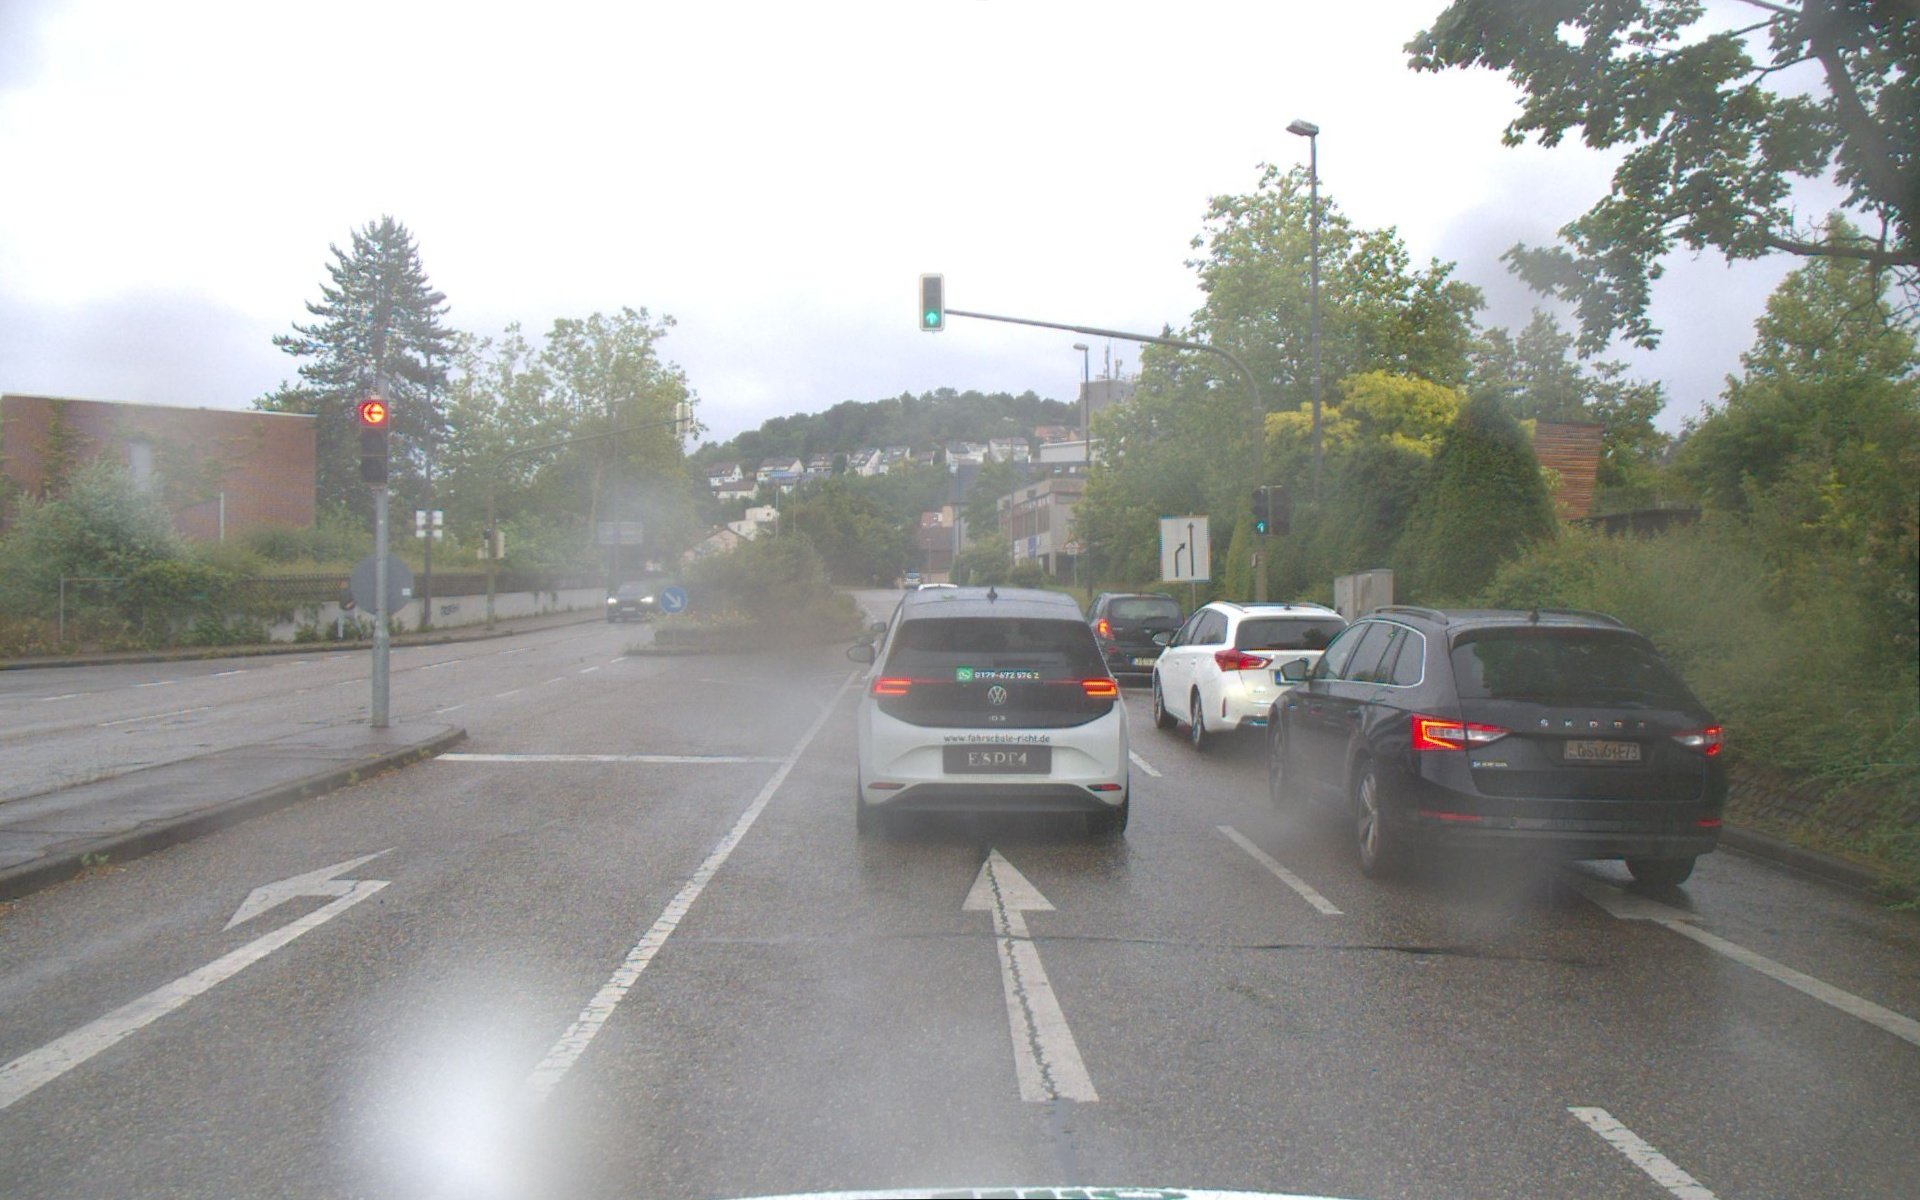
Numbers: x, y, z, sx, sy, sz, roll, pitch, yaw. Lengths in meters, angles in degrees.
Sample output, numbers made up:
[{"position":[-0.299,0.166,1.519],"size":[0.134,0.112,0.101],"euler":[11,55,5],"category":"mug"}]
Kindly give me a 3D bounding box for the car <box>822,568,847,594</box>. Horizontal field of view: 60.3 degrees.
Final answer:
[{"position":[-10.587,-1.597,139.969],"size":[1.954,2.049,3.998],"euler":[1,0,-3],"category":"car"}]

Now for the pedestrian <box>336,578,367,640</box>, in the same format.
[{"position":[-16.546,0.244,44.991],"size":[0.541,1.671,0.499],"euler":[-2,0,29],"category":"pedestrian"}]

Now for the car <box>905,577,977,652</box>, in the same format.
[{"position":[-0.557,0.397,48.066],"size":[1.953,2.049,3.999],"euler":[1,0,-1],"category":"car"}]

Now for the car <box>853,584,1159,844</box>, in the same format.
[{"position":[0.243,0.671,11.814],"size":[1.791,1.526,4.167],"euler":[0,0,-1],"category":"car"}]

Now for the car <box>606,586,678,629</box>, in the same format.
[{"position":[-12.005,0.264,62.709],"size":[1.910,1.504,4.295],"euler":[-2,0,-1],"category":"car"}]

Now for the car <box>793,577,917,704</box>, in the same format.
[{"position":[-1.420,0.481,22.592],"size":[1.536,1.556,3.998],"euler":[0,1,-3],"category":"car"}]

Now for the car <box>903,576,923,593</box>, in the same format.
[{"position":[-4.237,-1.415,149.327],"size":[1.703,1.490,3.998],"euler":[1,0,-3],"category":"car"}]

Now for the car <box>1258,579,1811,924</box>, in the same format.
[{"position":[3.108,0.711,10.070],"size":[1.913,1.533,4.610],"euler":[2,0,3],"category":"car"}]

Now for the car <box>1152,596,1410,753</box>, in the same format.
[{"position":[3.205,0.688,17.364],"size":[1.810,1.434,4.301],"euler":[0,0,-1],"category":"car"}]

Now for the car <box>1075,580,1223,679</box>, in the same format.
[{"position":[3.100,0.462,27.888],"size":[1.953,1.478,3.770],"euler":[-2,0,-1],"category":"car"}]
